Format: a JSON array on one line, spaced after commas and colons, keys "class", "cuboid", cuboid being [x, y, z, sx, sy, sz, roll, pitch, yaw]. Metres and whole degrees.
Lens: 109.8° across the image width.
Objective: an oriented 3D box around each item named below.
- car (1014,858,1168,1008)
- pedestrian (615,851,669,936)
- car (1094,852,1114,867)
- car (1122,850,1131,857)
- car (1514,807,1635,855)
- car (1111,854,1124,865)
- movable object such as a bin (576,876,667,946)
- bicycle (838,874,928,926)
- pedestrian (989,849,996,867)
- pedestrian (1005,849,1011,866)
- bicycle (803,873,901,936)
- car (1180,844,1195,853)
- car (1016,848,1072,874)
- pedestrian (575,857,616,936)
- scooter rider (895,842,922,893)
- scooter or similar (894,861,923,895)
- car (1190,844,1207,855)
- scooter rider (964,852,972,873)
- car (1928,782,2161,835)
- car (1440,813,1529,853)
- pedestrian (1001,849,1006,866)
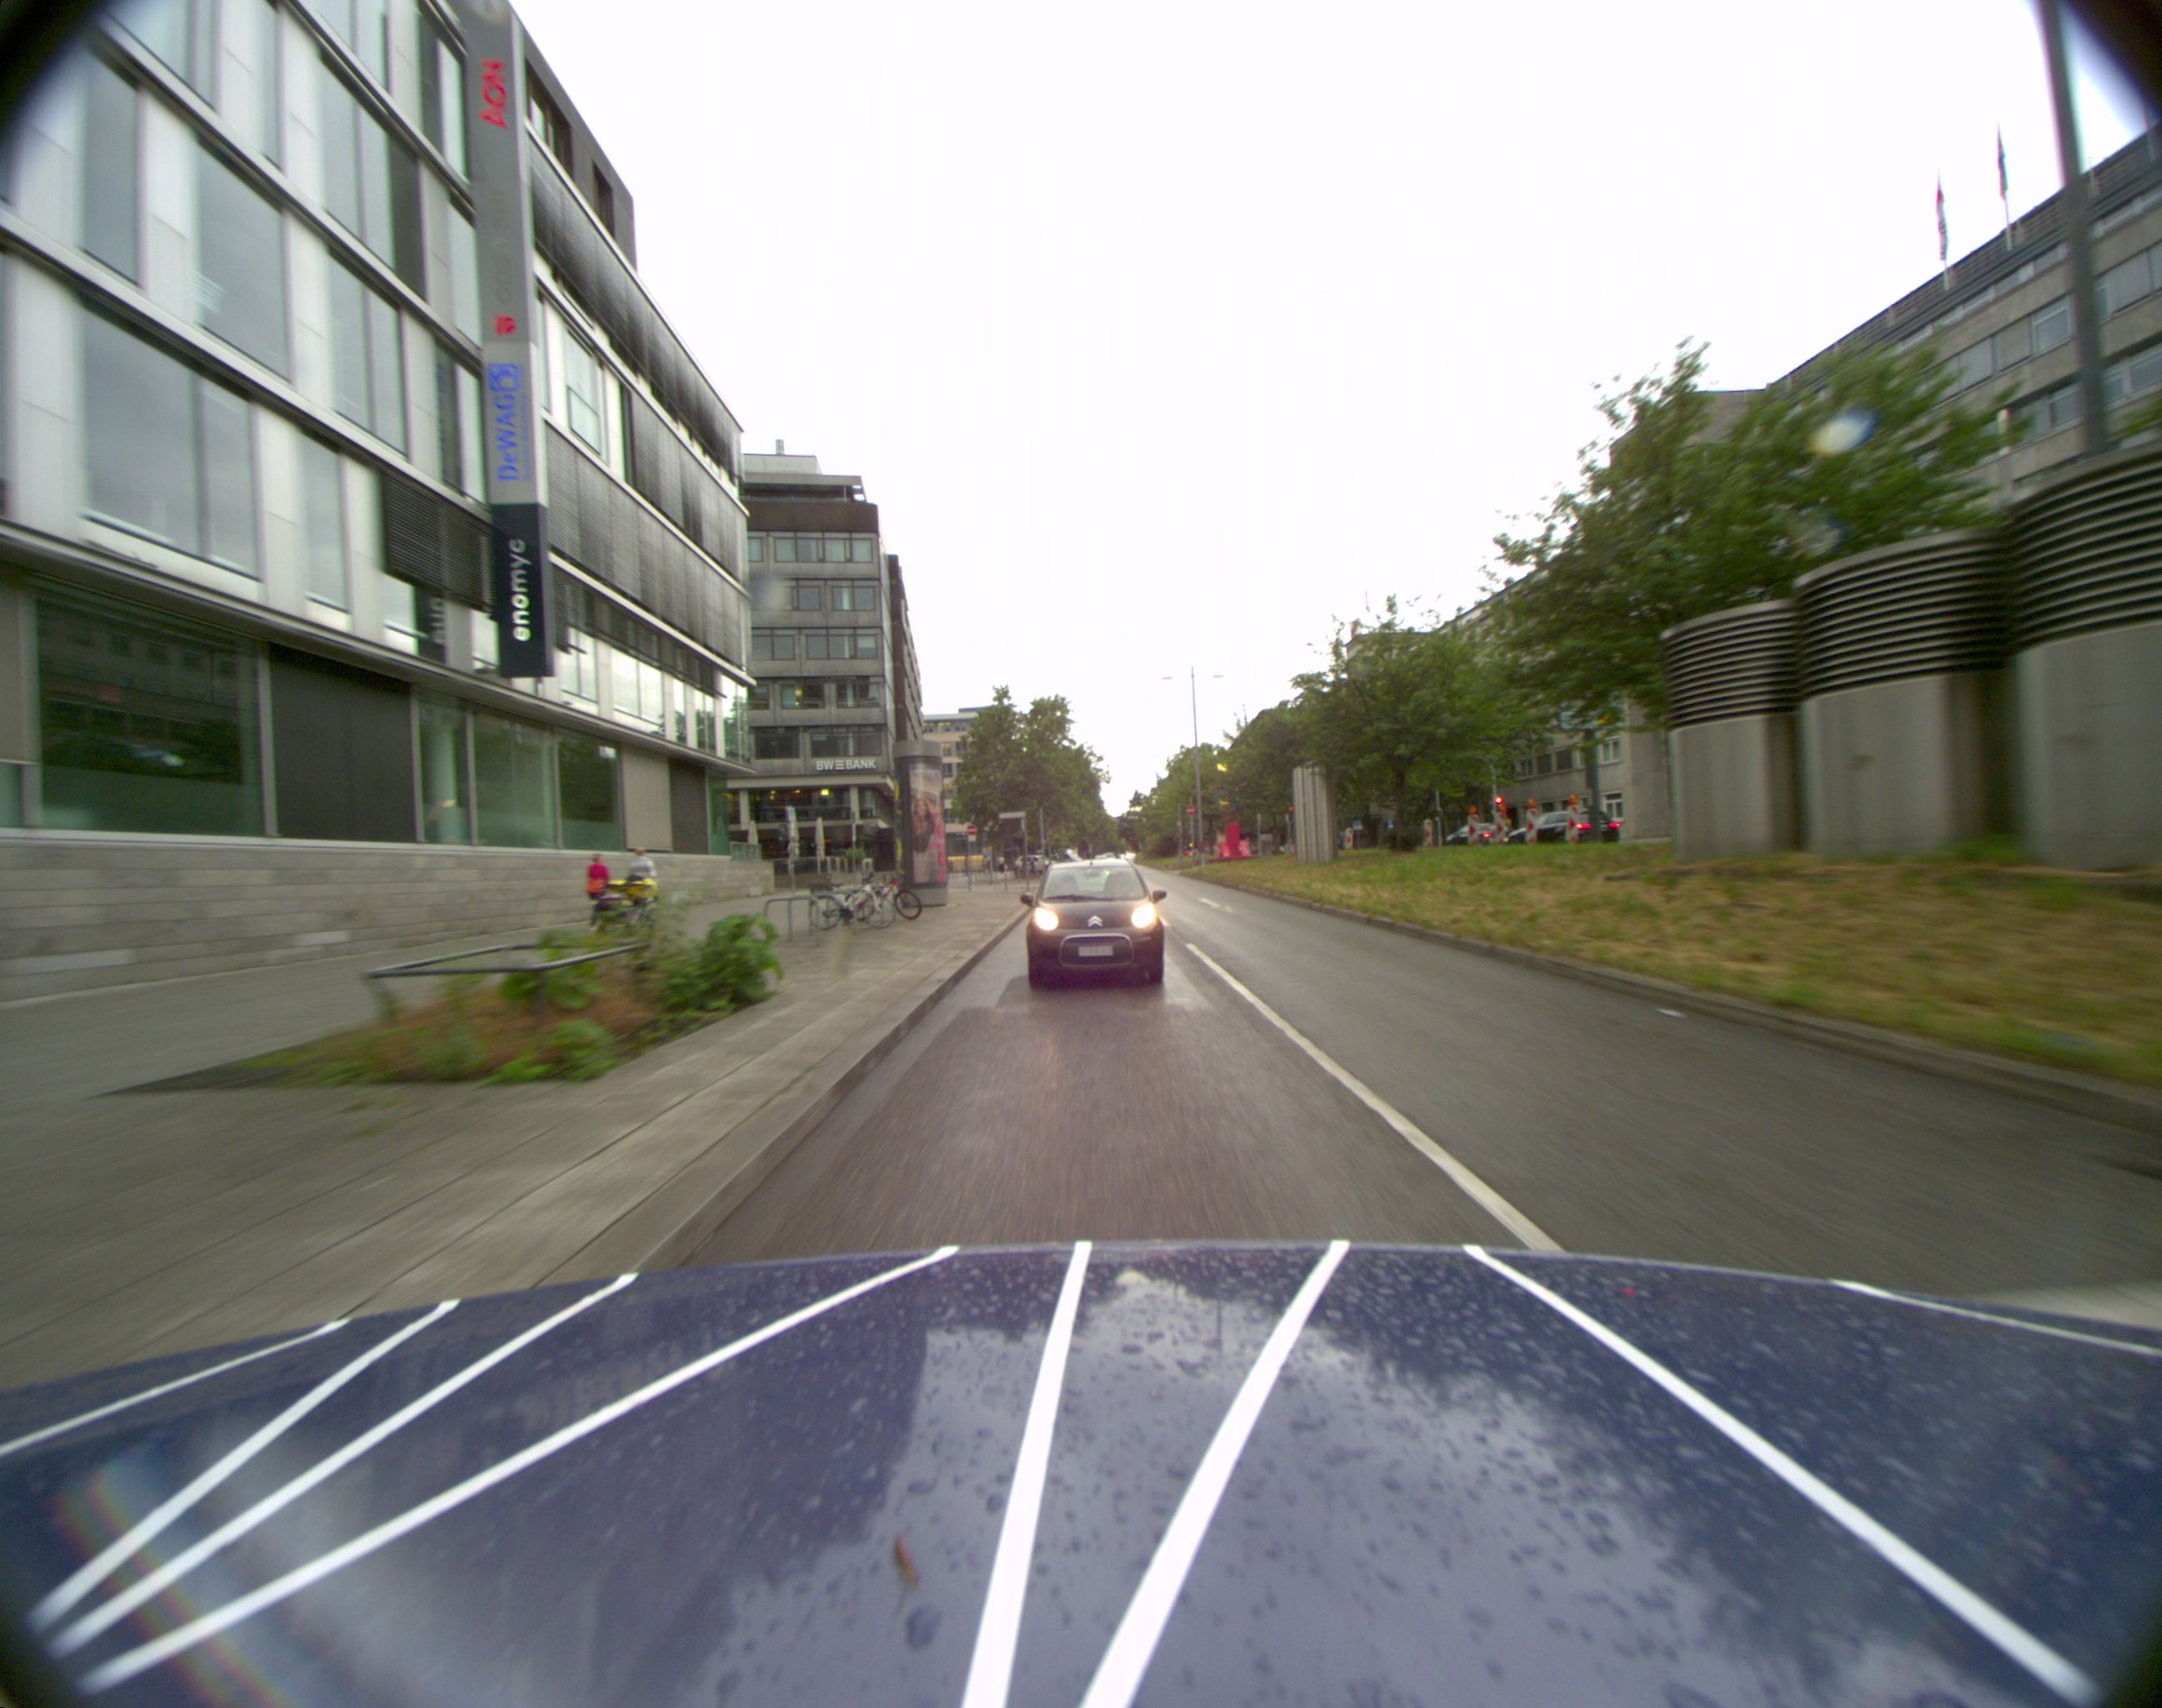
[{"class": "car", "cuboid": [0.129, 0.865, 10.100, 1.595, 1.501, 3.708, -3, 1, 1]}, {"class": "pedestrian", "cuboid": [-9.714, 0.846, 16.843, 0.723, 1.820, 0.746, -1, 1, -3]}, {"class": "car", "cuboid": [2.619, 0.624, 88.433, 2.072, 1.578, 4.107, -5, 1, -1]}, {"class": "car", "cuboid": [11.295, -0.183, 187.666, 1.799, 1.501, 4.499, -3, 1, 0]}, {"class": "car", "cuboid": [18.980, -0.851, 29.467, 1.880, 1.571, 4.107, -5, 1, -1]}, {"class": "car", "cuboid": [5.175, 0.808, 108.582, 1.605, 1.377, 3.019, -5, 1, -1]}, {"class": "movable object such as a bin", "cuboid": [-9.359, 1.123, 15.579, 0.805, 1.258, 1.787, -1, 1, -3]}, {"class": "bicycle", "cuboid": [-4.535, 1.046, 17.493, 1.876, 1.103, 0.669, -2, 1, 0]}, {"class": "pedestrian", "cuboid": [-8.771, 0.411, 74.979, 0.552, 1.692, 0.547, -2, 2, 0]}, {"class": "pedestrian", "cuboid": [-7.176, 0.350, 74.860, 0.452, 1.692, 0.497, -2, 2, 0]}, {"class": "bicycle", "cuboid": [-4.682, 1.016, 15.630, 1.797, 1.200, 0.669, -2, 1, -7]}, {"class": "car", "cuboid": [19.792, -1.023, 141.940, 2.072, 1.578, 4.107, -5, 1, -1]}, {"class": "car", "cuboid": [-3.089, 0.594, 63.174, 4.202, 1.802, 2.003, -4, 1, 34]}, {"class": "pedestrian", "cuboid": [-10.719, 0.923, 16.784, 0.485, 1.689, 0.579, -1, 1, -3]}, {"class": "scooter rider", "cuboid": [-7.067, 0.537, 31.121, 0.779, 2.009, 0.924, -2, 1, 3]}, {"class": "scooter or similar", "cuboid": [-7.045, 0.960, 31.132, 0.779, 1.298, 1.335, -2, 1, 3]}, {"class": "car", "cuboid": [18.787, -0.767, 121.703, 2.072, 1.578, 4.107, -5, 1, -1]}, {"class": "scooter rider", "cuboid": [-11.123, 0.795, 74.704, 0.627, 2.013, 0.854, -2, 1, -3]}, {"class": "car", "cuboid": [25.973, -1.181, 20.433, 1.575, 1.116, 4.105, -5, 1, -5]}, {"class": "car", "cuboid": [18.747, -0.944, 35.520, 1.880, 1.571, 4.107, -5, 1, -1]}, {"class": "pedestrian", "cuboid": [-7.639, 0.368, 74.871, 0.452, 1.692, 0.497, -2, 2, 0]}]
